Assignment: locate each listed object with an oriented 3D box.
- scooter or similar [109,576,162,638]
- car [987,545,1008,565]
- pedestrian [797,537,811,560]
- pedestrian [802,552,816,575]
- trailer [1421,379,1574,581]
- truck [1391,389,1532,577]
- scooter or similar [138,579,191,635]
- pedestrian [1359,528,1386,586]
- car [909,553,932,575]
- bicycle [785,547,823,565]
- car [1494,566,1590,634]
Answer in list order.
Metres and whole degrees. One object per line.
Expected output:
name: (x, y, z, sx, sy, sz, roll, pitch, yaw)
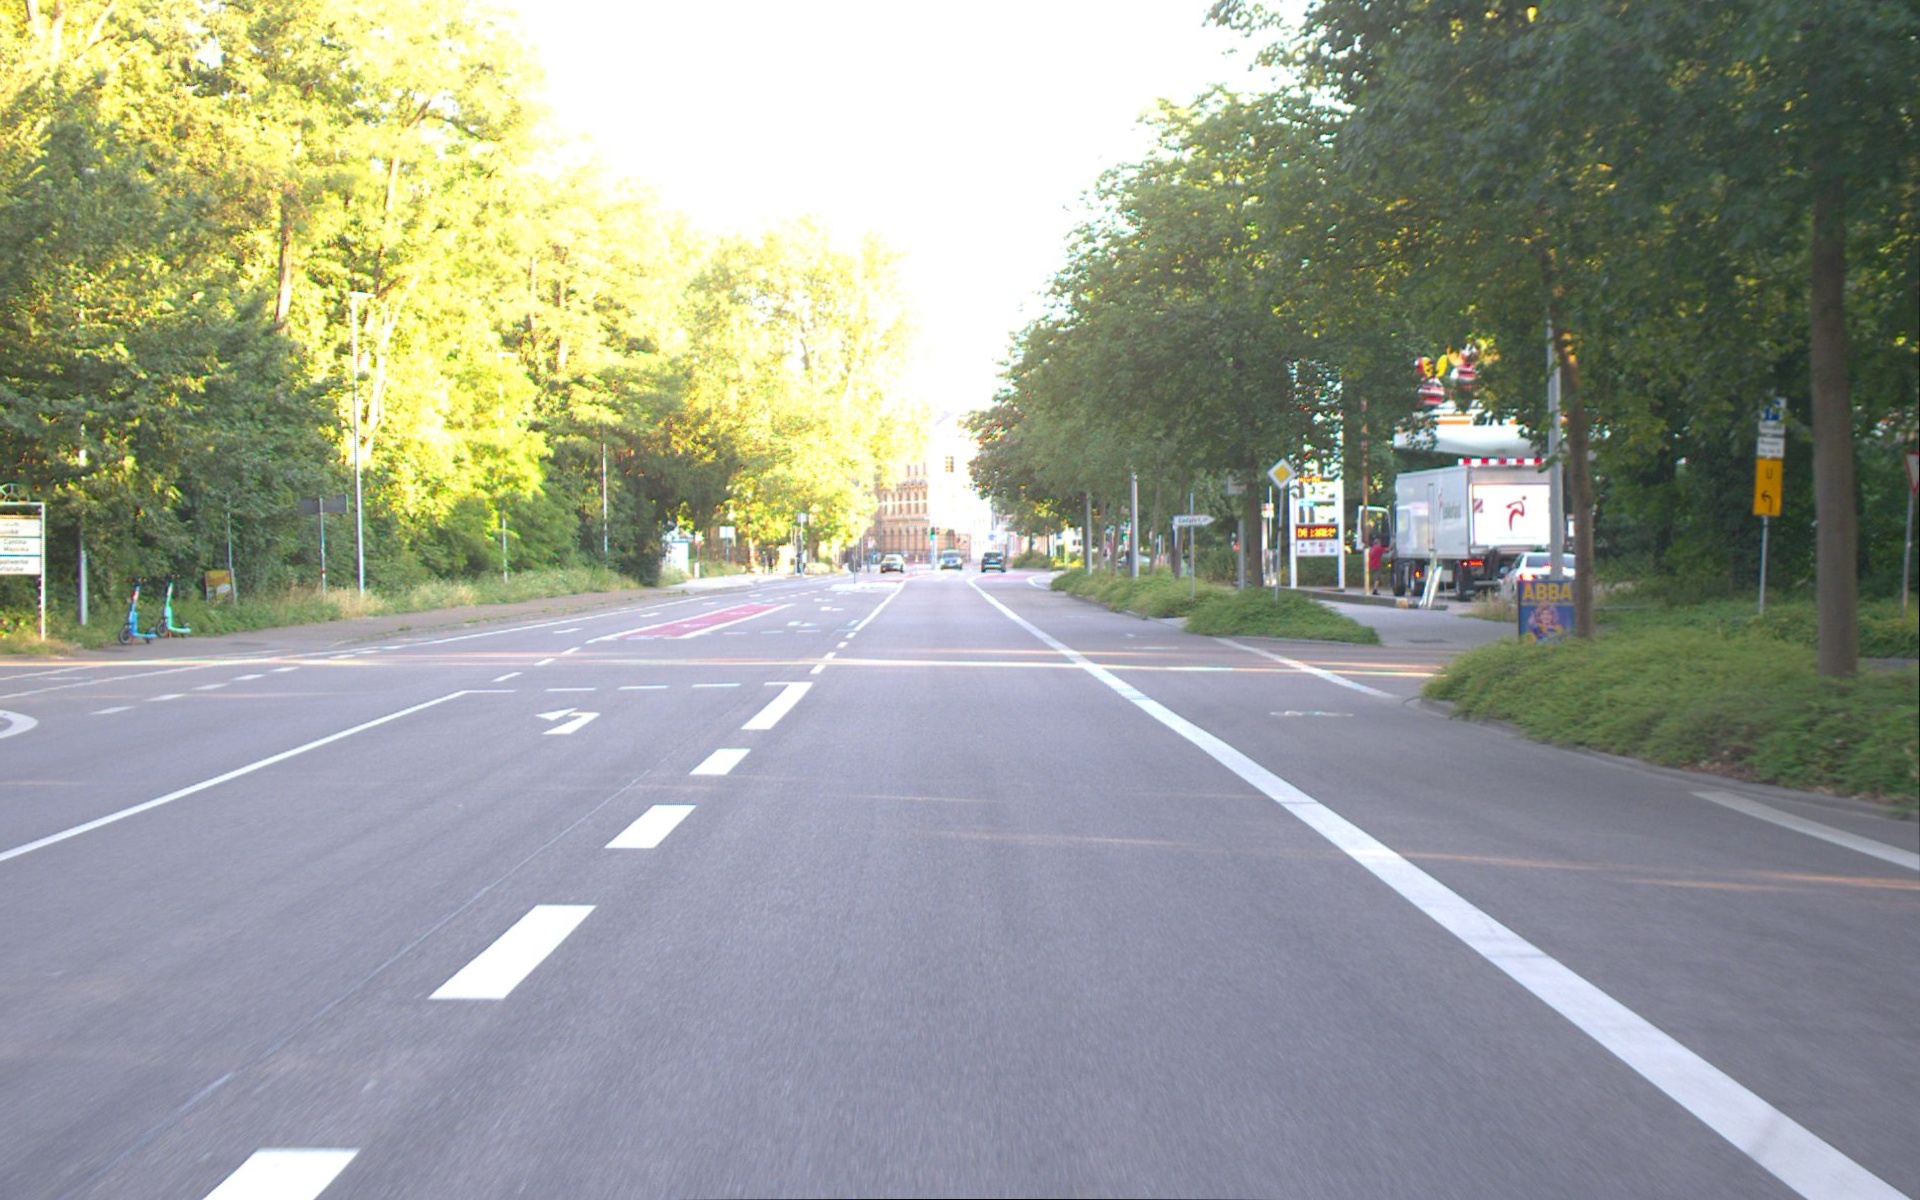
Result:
scooter or similar: (-14.994, 0.123, 62.491, 0.361, 1.106, 0.877, 0, 1, 42)
car: (2.759, -3.311, 254.574, 1.493, 1.481, 3.491, -1, 1, 1)
pedestrian: (-10.646, -3.502, 234.881, 0.791, 1.575, 0.745, 1, 1, 9)
pedestrian: (-10.636, -2.570, 242.070, 0.791, 1.575, 0.745, 1, 1, 9)
trailer: (15.054, -3.315, 96.873, 3.020, 5.443, 7.935, 0, 1, 0)
truck: (15.044, -3.477, 103.728, 3.033, 5.437, 8.410, 0, 1, 0)
scooter or similar: (-15.251, 0.132, 65.906, 0.897, 1.065, 0.496, -1, 1, -25)
pedestrian: (12.867, -1.344, 107.258, 0.757, 1.791, 0.706, 1, 1, 3)
car: (-2.666, -2.461, 234.873, 1.493, 1.481, 3.491, -1, 1, 1)
bicycle: (-10.665, -3.030, 234.841, 2.463, 1.191, 0.757, 0, 0, 10)
car: (14.227, -0.022, 84.276, 1.770, 1.578, 4.818, 1, 1, 3)
